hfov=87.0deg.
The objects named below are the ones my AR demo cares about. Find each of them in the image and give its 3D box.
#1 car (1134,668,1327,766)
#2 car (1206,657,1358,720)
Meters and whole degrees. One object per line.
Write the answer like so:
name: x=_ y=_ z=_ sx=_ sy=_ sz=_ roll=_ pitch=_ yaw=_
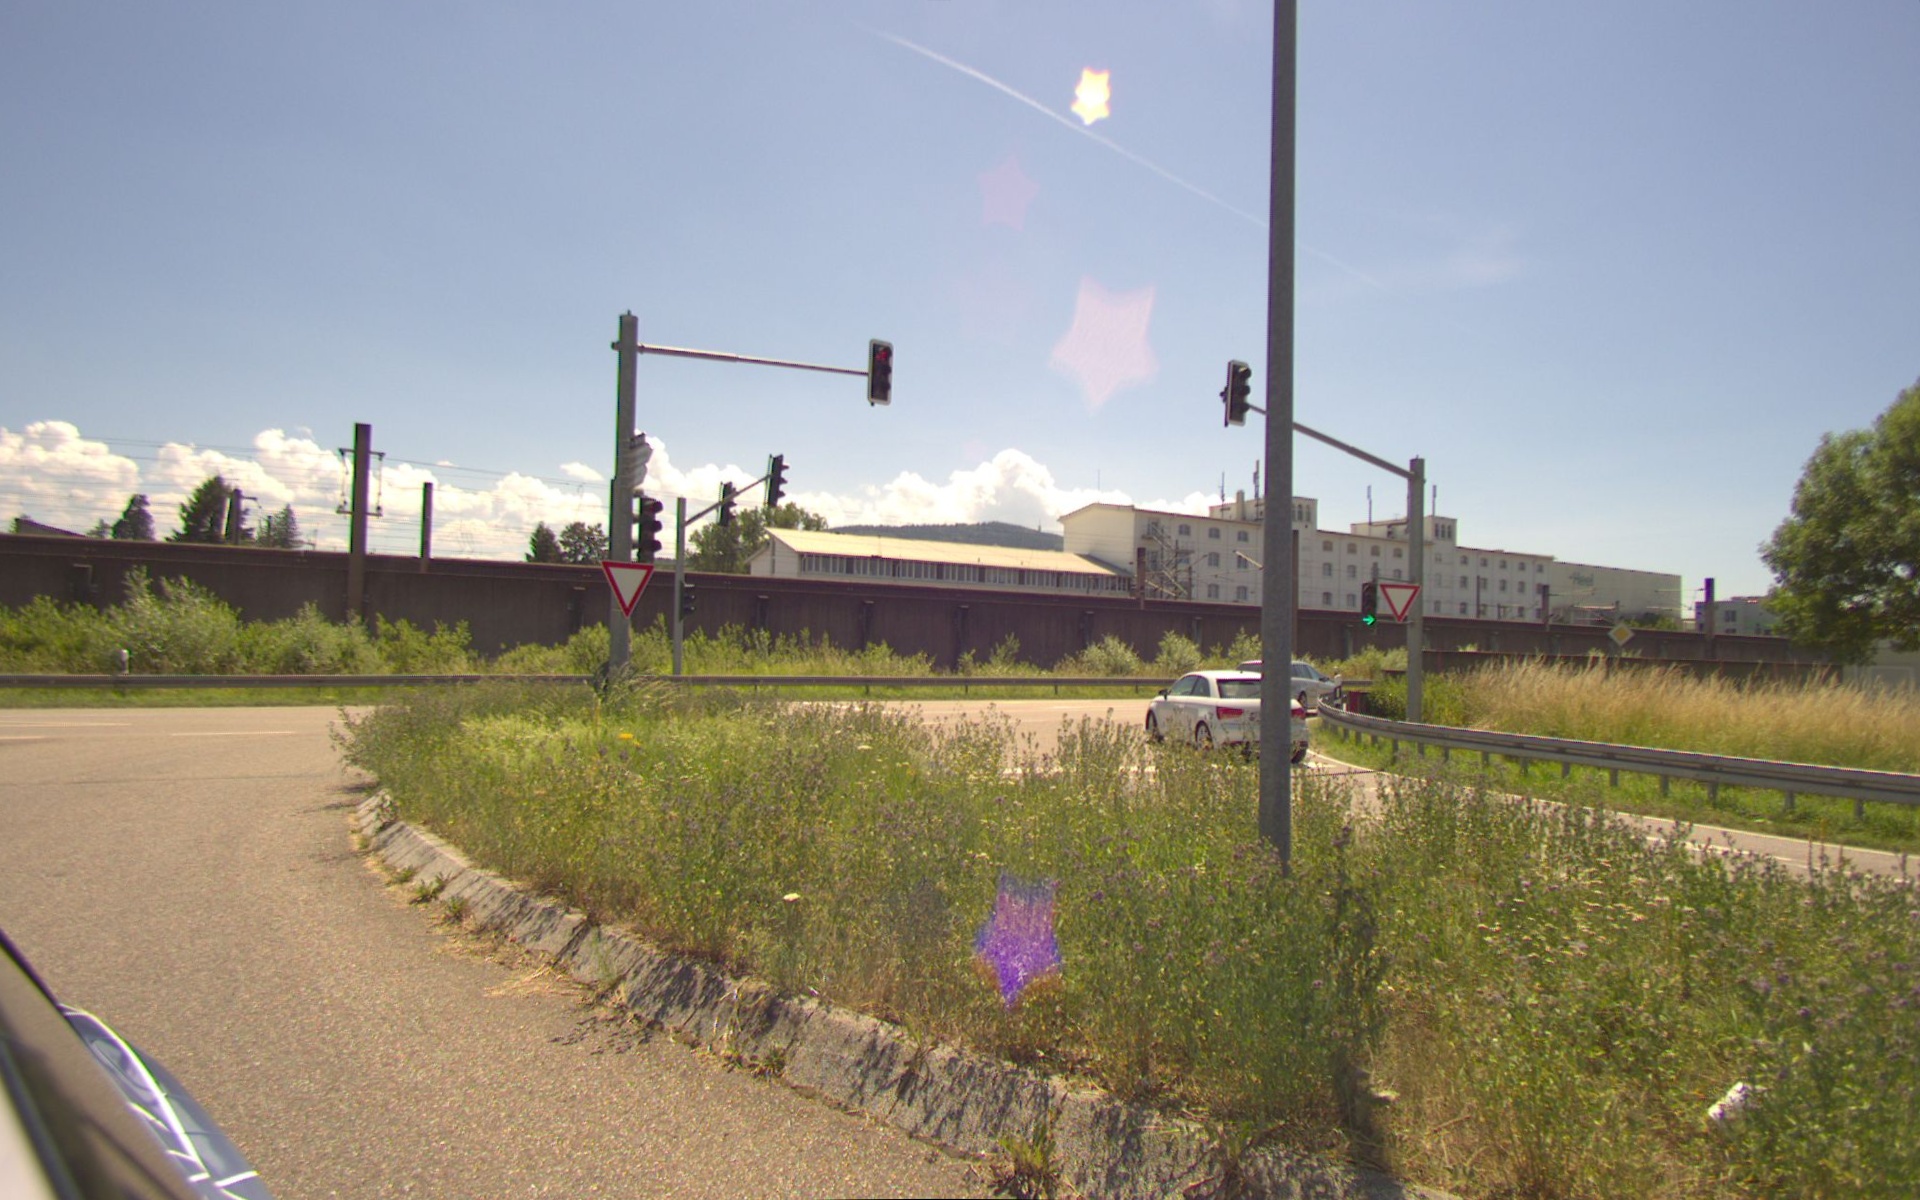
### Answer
car: x=4.476 y=1.914 z=17.379 sx=1.704 sy=1.420 sz=3.868 roll=1 pitch=-3 yaw=-10
car: x=8.738 y=2.349 z=27.237 sx=4.583 sy=1.517 sz=1.798 roll=4 pitch=-4 yaw=-41
